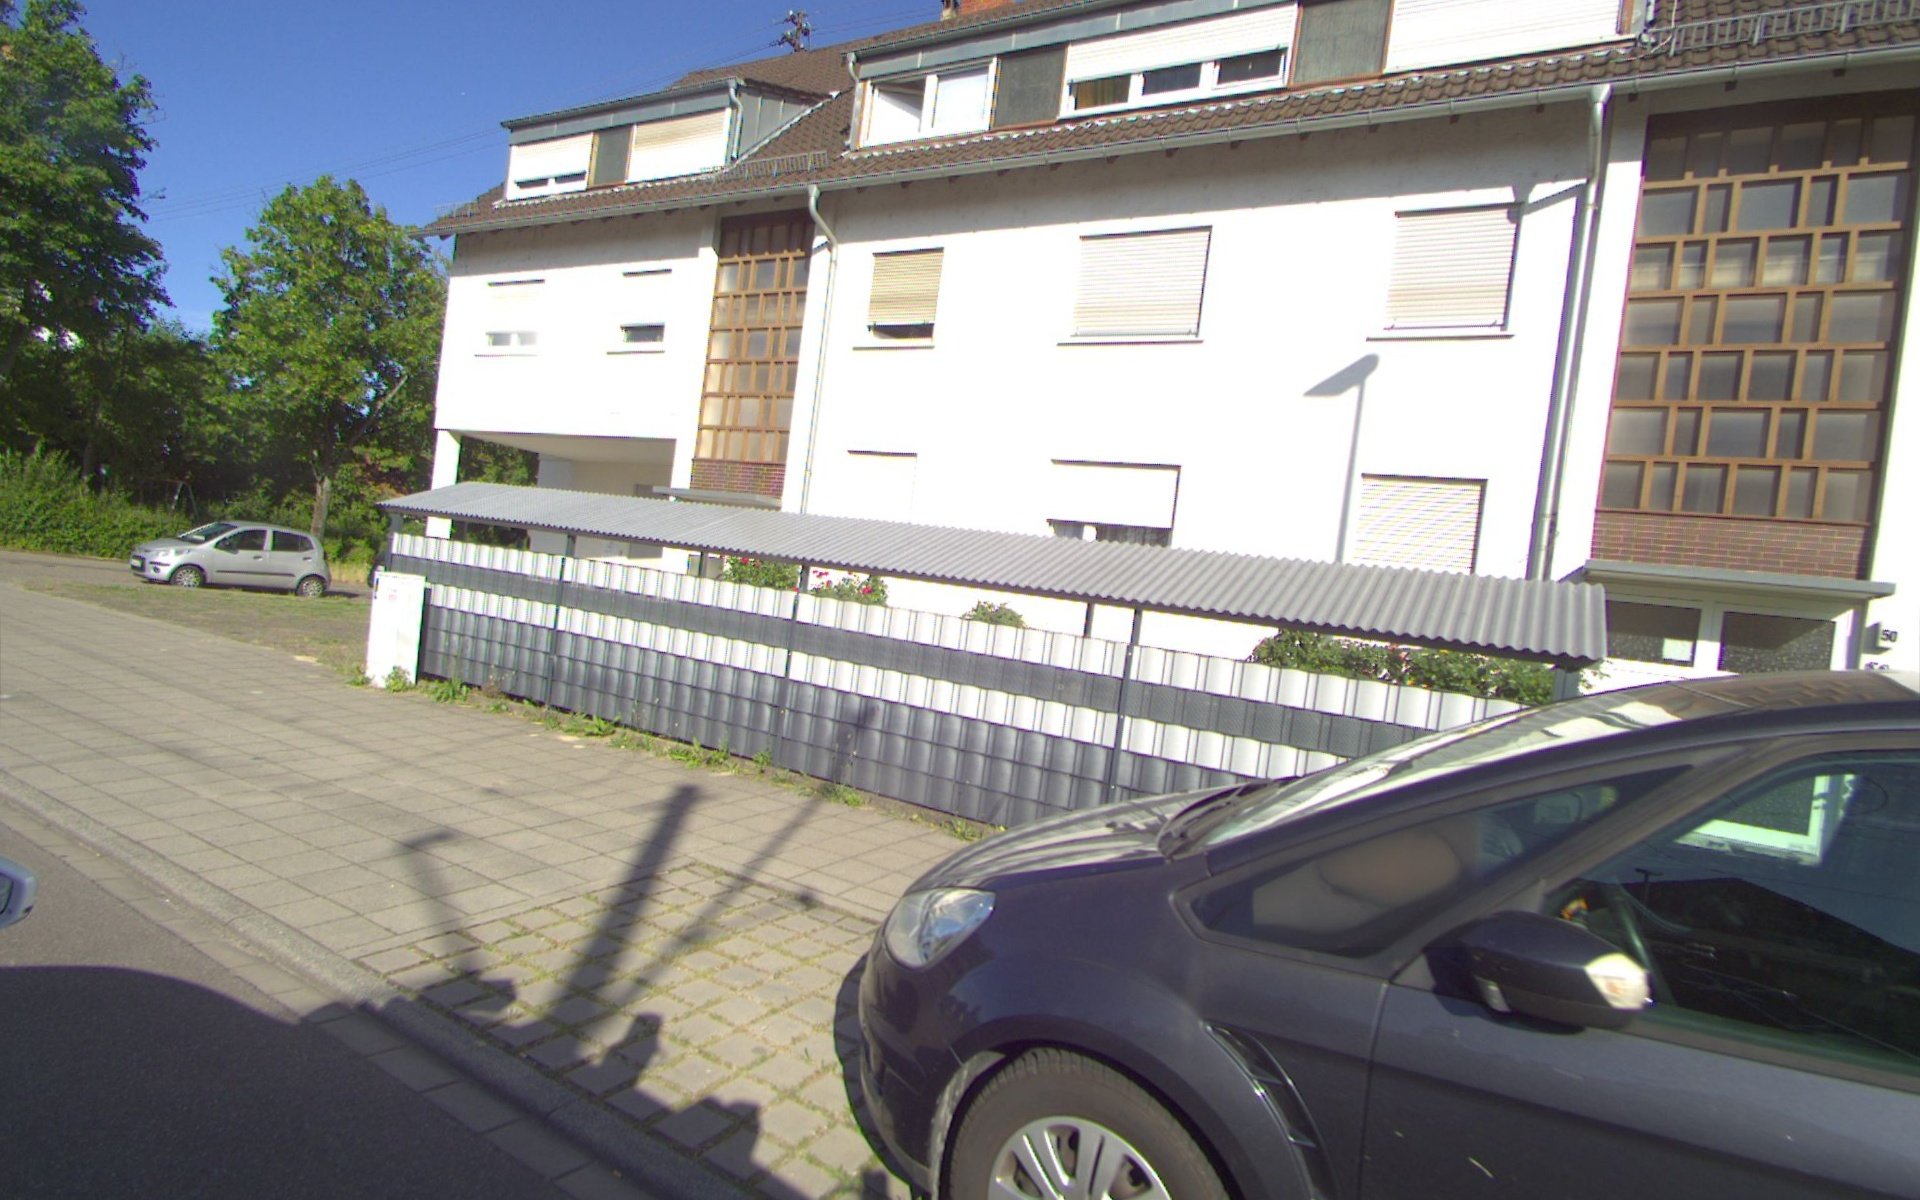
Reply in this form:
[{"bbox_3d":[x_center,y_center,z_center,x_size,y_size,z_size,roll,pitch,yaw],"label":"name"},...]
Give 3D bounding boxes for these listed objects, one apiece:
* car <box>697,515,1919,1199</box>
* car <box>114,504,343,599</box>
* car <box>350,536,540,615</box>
[{"bbox_3d":[1.942,0.917,2.000,4.778,1.650,1.792,7,2,30],"label":"car"},{"bbox_3d":[-15.796,-0.999,21.886,1.620,1.549,3.599,6,-1,32],"label":"car"},{"bbox_3d":[-13.296,-0.580,26.204,1.715,1.515,4.008,7,-1,32],"label":"car"}]
